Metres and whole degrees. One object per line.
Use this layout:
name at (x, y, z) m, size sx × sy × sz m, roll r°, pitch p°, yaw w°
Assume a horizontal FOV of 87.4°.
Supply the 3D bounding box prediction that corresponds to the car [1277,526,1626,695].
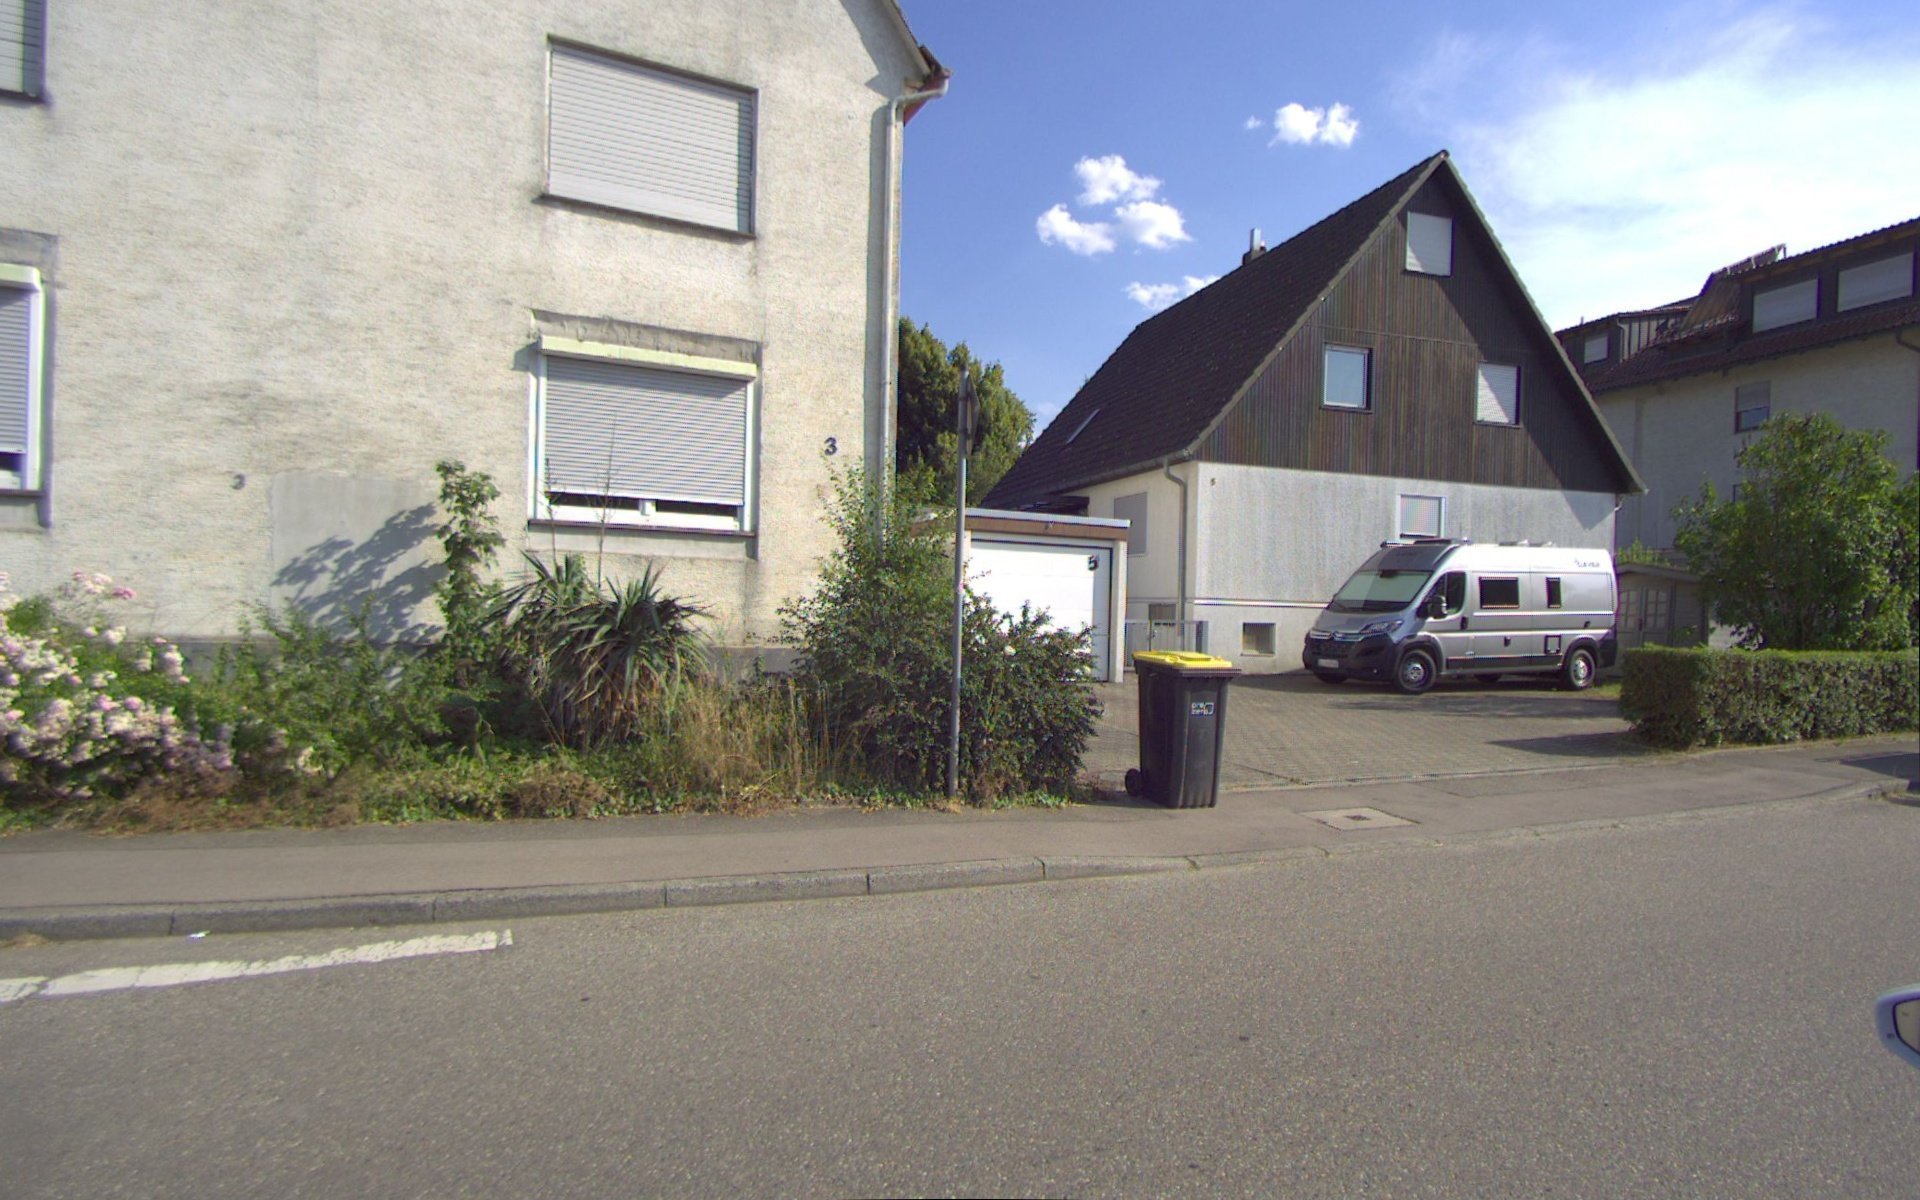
car at (8.755, 0.208, 17.817) m, size 6.008 × 2.631 × 2.153 m, roll 1°, pitch 1°, yaw -24°

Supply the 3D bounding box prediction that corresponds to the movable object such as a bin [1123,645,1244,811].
movable object such as a bin at (1.631, 0.912, 7.375) m, size 0.568 × 1.116 × 0.608 m, roll 2°, pitch 1°, yaw -27°
